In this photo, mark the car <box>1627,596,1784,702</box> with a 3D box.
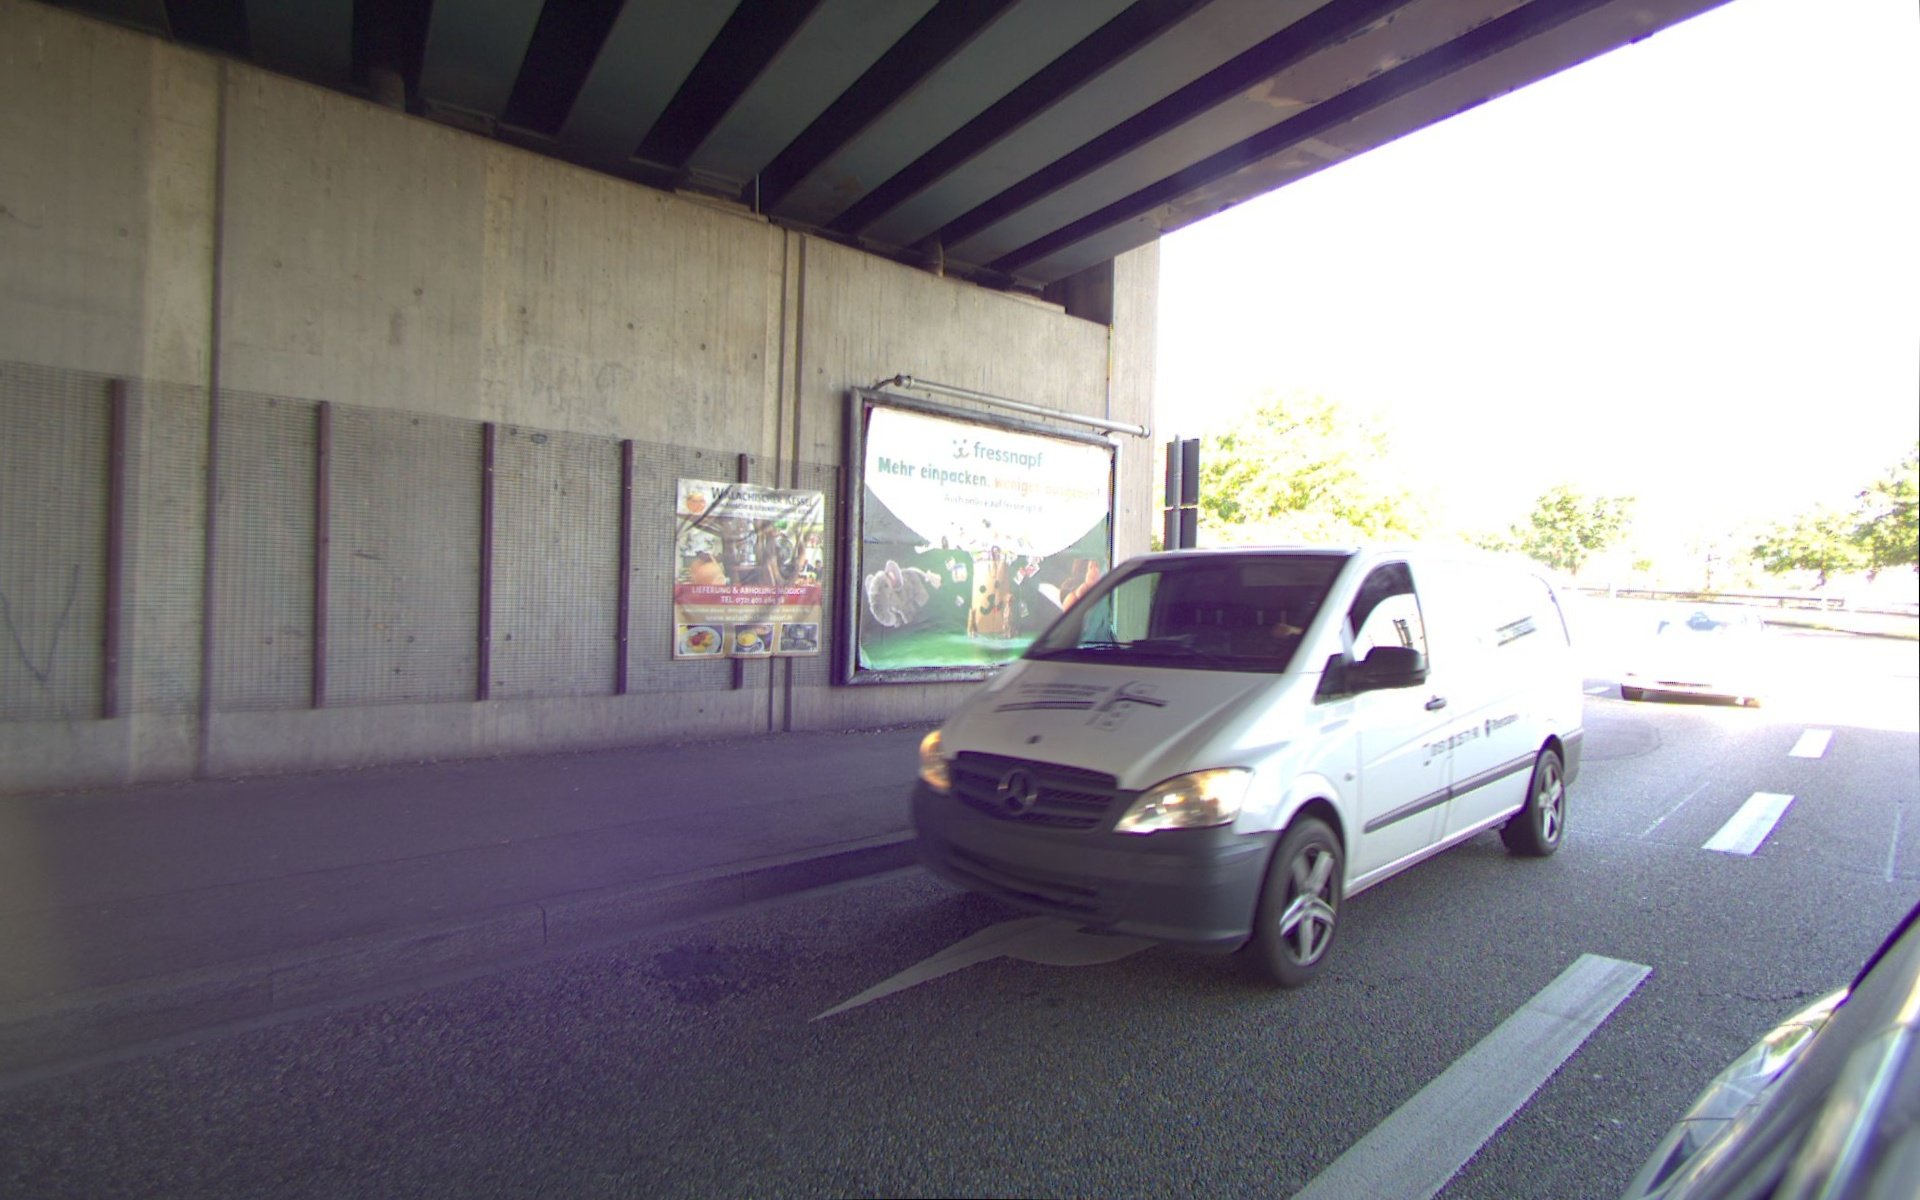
[{"bbox_3d":[13.063,0.732,17.651,1.990,1.570,4.359,1,1,39],"label":"car"}]

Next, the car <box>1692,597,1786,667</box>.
[{"bbox_3d":[19.901,0.750,25.864,1.771,1.621,4.048,0,0,38],"label":"car"}]

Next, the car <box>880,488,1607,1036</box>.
[{"bbox_3d":[1.973,0.543,5.792,4.755,1.859,1.899,0,0,-44],"label":"car"}]
